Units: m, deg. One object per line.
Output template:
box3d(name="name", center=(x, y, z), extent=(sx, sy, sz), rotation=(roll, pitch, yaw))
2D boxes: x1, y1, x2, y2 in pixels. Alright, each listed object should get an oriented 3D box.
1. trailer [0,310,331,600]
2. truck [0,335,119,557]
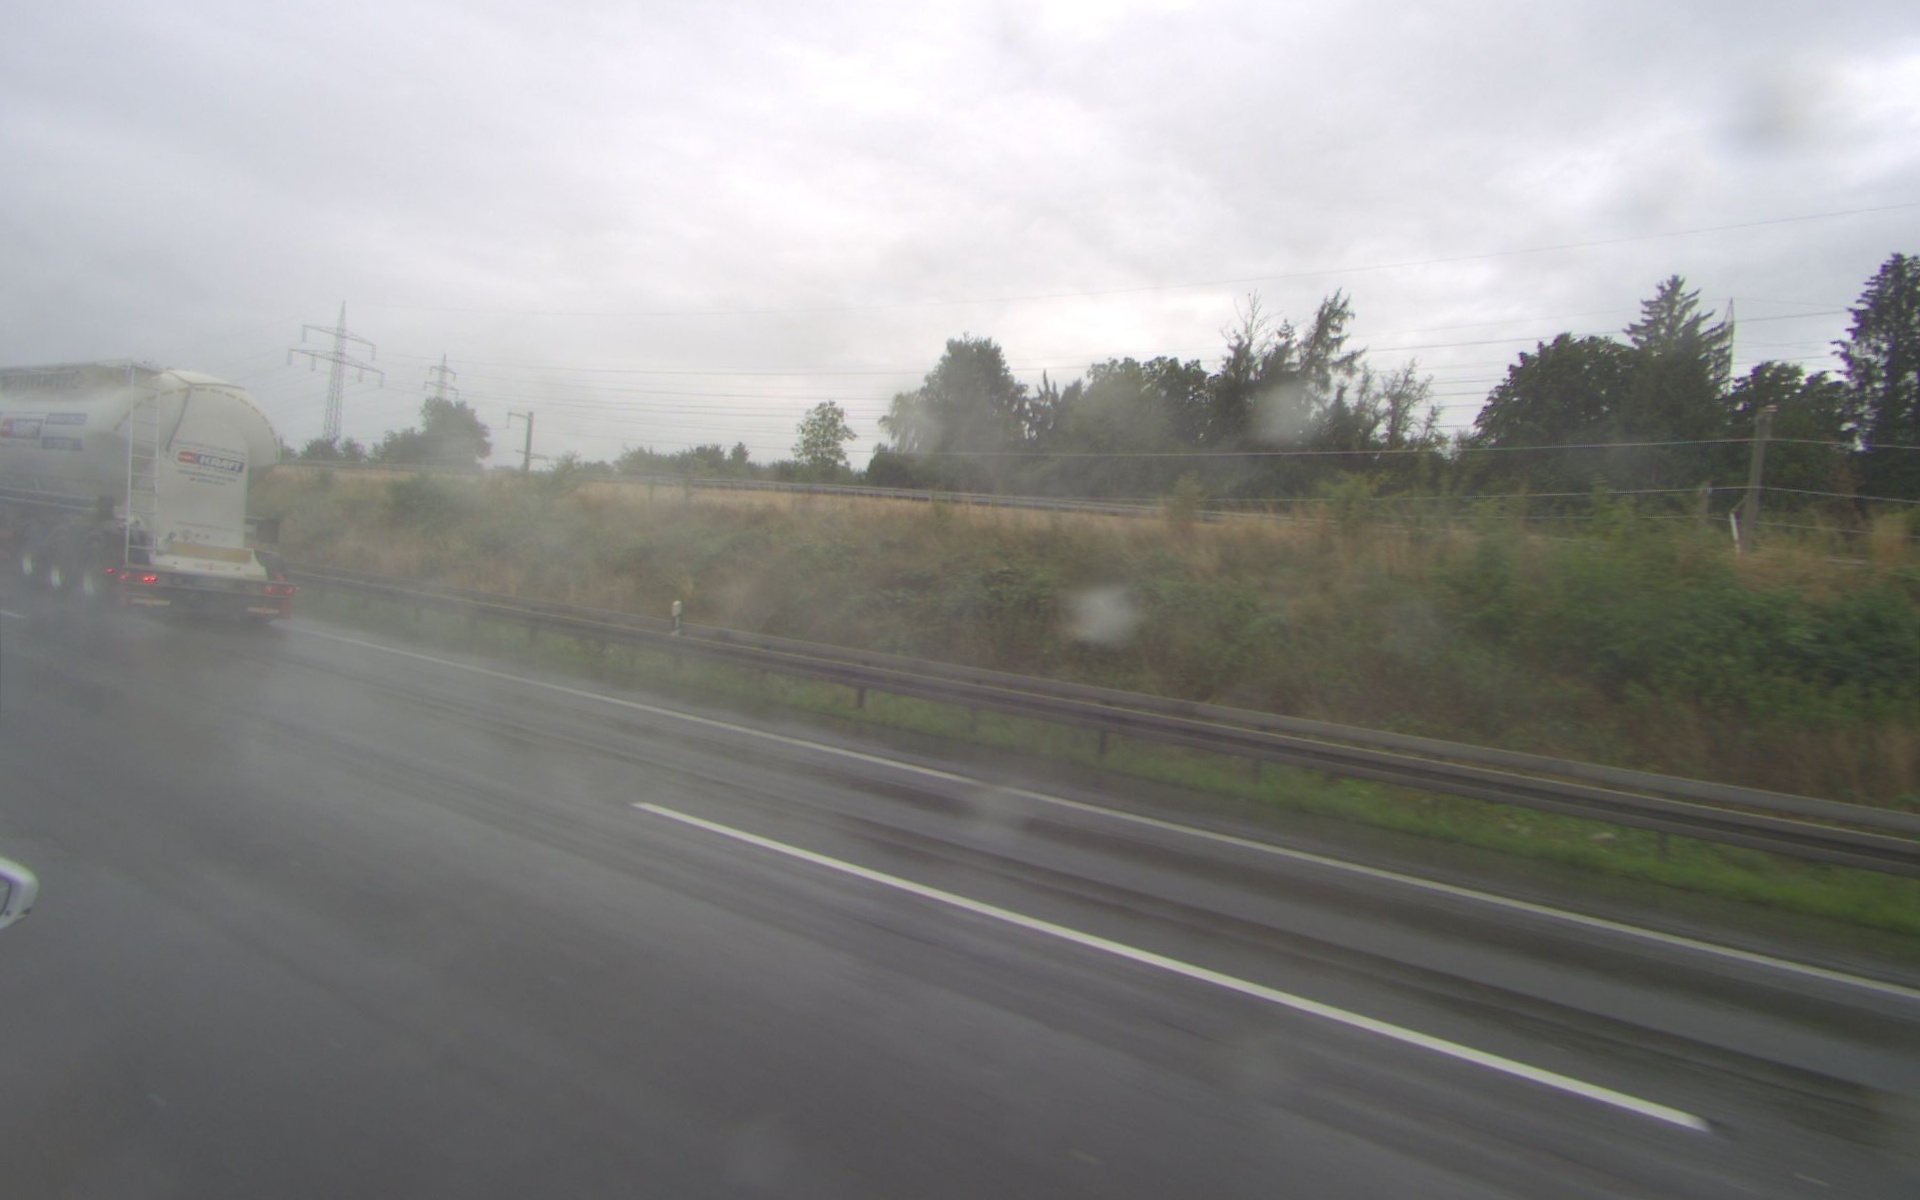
box3d(name="trailer", center=(-15.836, -2.648, 18.229), extent=(10.880, 3.928, 2.502), rotation=(7, -1, 31))
box3d(name="truck", center=(-20.427, -3.266, 21.031), extent=(4.990, 4.031, 2.501), rotation=(7, -1, 31))
